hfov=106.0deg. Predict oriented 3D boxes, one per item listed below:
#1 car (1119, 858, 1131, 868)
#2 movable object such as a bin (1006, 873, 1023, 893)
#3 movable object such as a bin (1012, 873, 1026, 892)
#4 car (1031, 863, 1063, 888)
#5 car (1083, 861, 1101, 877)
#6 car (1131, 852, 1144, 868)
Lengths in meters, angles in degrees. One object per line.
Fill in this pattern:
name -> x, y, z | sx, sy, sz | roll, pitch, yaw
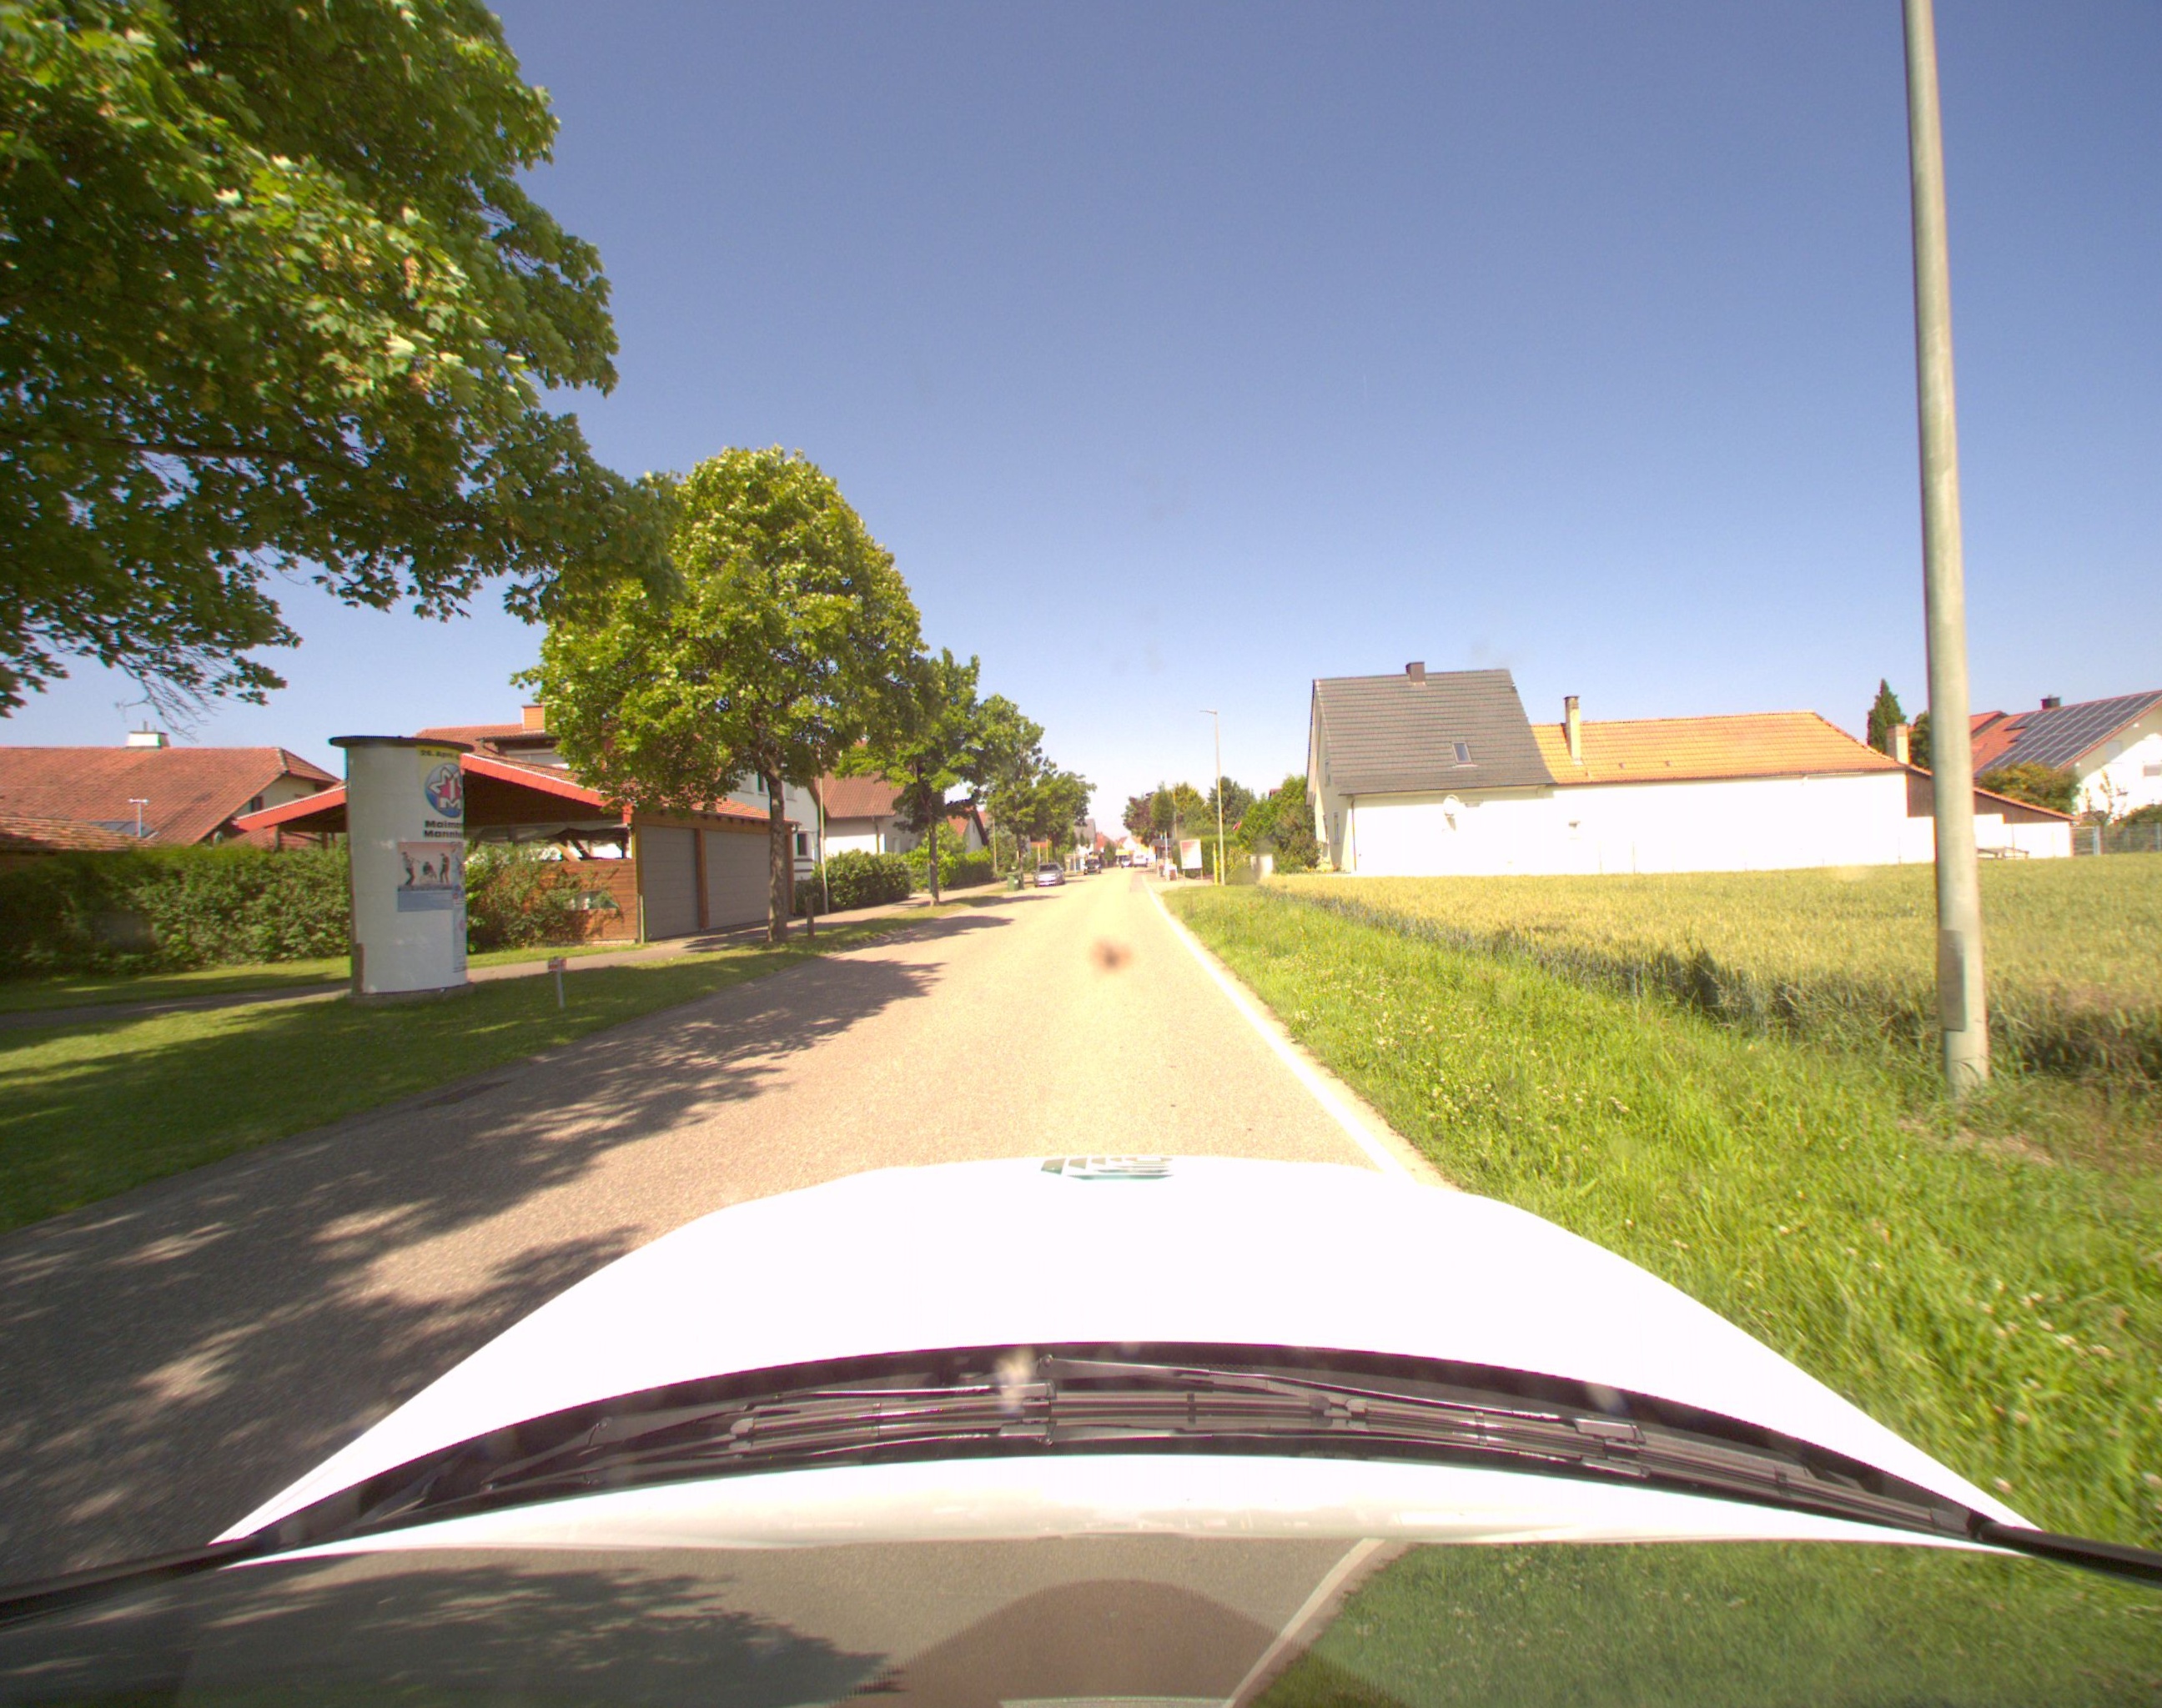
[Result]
car -> 7.785, 1.592, 143.674 | 1.829, 1.753, 3.797 | -3, -1, 1
movable object such as a bin -> -3.779, 1.651, 46.118 | 0.706, 1.079, 0.643 | -3, -1, 28
movable object such as a bin -> -3.566, 1.626, 46.762 | 0.570, 1.079, 0.601 | -3, -1, 16
car -> -2.101, 1.332, 51.469 | 1.641, 1.424, 4.081 | -5, -1, 1
car -> 1.088, 1.490, 82.355 | 1.660, 1.524, 3.442 | -3, -1, 0
car -> 9.041, 0.996, 130.699 | 1.731, 2.432, 4.376 | -3, -1, 2
